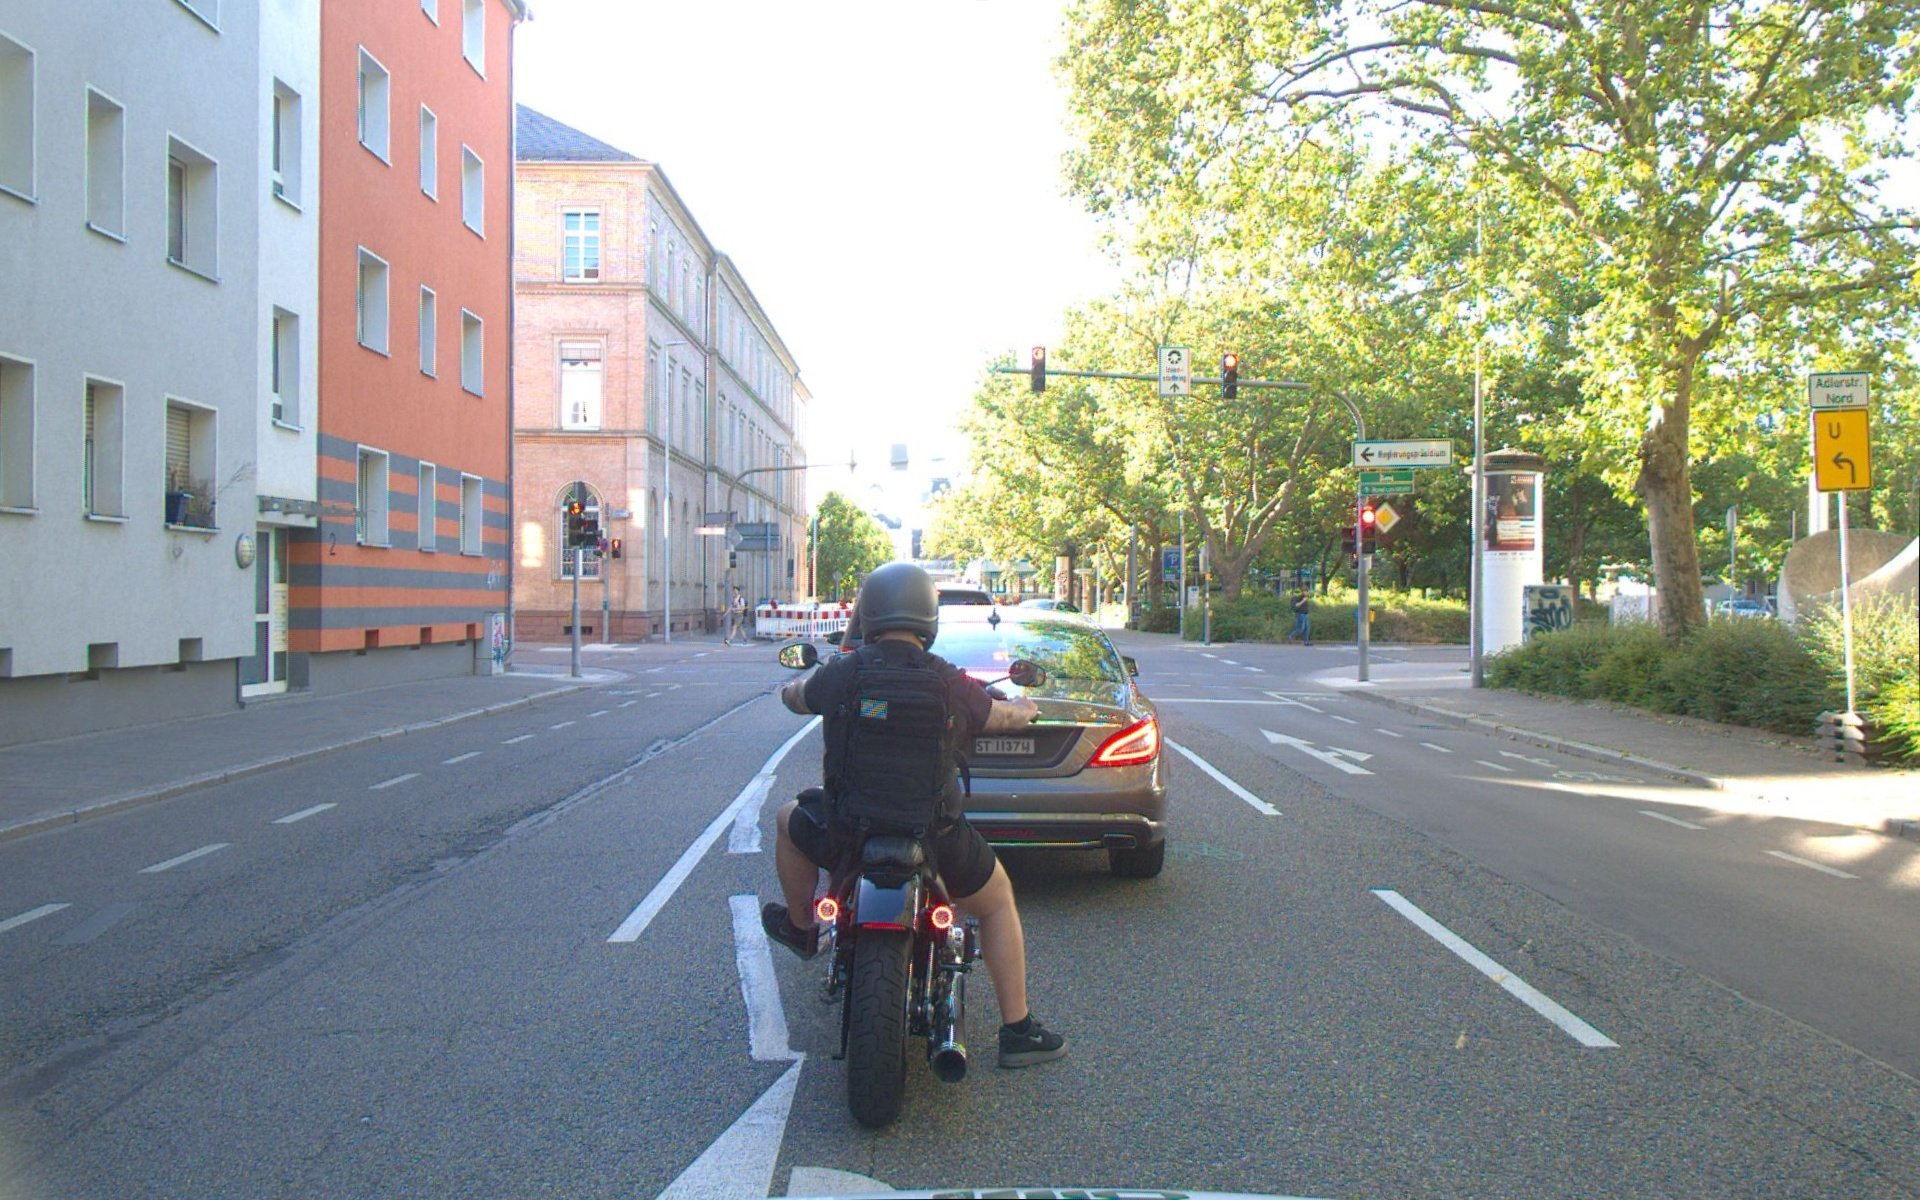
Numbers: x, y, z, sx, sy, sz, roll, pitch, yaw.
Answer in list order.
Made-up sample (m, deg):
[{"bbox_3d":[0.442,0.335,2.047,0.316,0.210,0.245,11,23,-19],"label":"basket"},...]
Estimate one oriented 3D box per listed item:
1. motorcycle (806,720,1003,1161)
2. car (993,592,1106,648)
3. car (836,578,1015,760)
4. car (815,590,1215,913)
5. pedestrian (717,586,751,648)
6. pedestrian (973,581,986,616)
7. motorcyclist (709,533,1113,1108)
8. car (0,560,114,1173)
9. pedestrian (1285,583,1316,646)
[{"bbox_3d":[-0.160,0.972,5.375,0.503,1.020,2.013,1,0,-1],"label":"motorcycle"},{"bbox_3d":[2.761,0.605,50.011,1.817,1.602,4.129,1,0,28],"label":"car"},{"bbox_3d":[-0.335,0.608,16.719,1.588,1.622,3.999,0,0,-1],"label":"car"},{"bbox_3d":[0.231,0.696,9.611,1.844,1.475,3.819,1,0,-1],"label":"car"},{"bbox_3d":[-6.845,0.512,50.037,0.983,1.858,1.074,1,-1,-9],"label":"pedestrian"},{"bbox_3d":[1.172,-0.083,100.910,0.748,2.087,0.712,1,-1,-1],"label":"pedestrian"},{"bbox_3d":[-0.147,0.633,5.367,1.125,1.626,1.288,1,0,-1],"label":"motorcyclist"},{"bbox_3d":[-3.347,0.673,2.638,1.812,1.597,4.384,1,0,-2],"label":"car"},{"bbox_3d":[10.698,0.454,51.990,0.903,1.943,0.752,1,-1,13],"label":"pedestrian"}]
